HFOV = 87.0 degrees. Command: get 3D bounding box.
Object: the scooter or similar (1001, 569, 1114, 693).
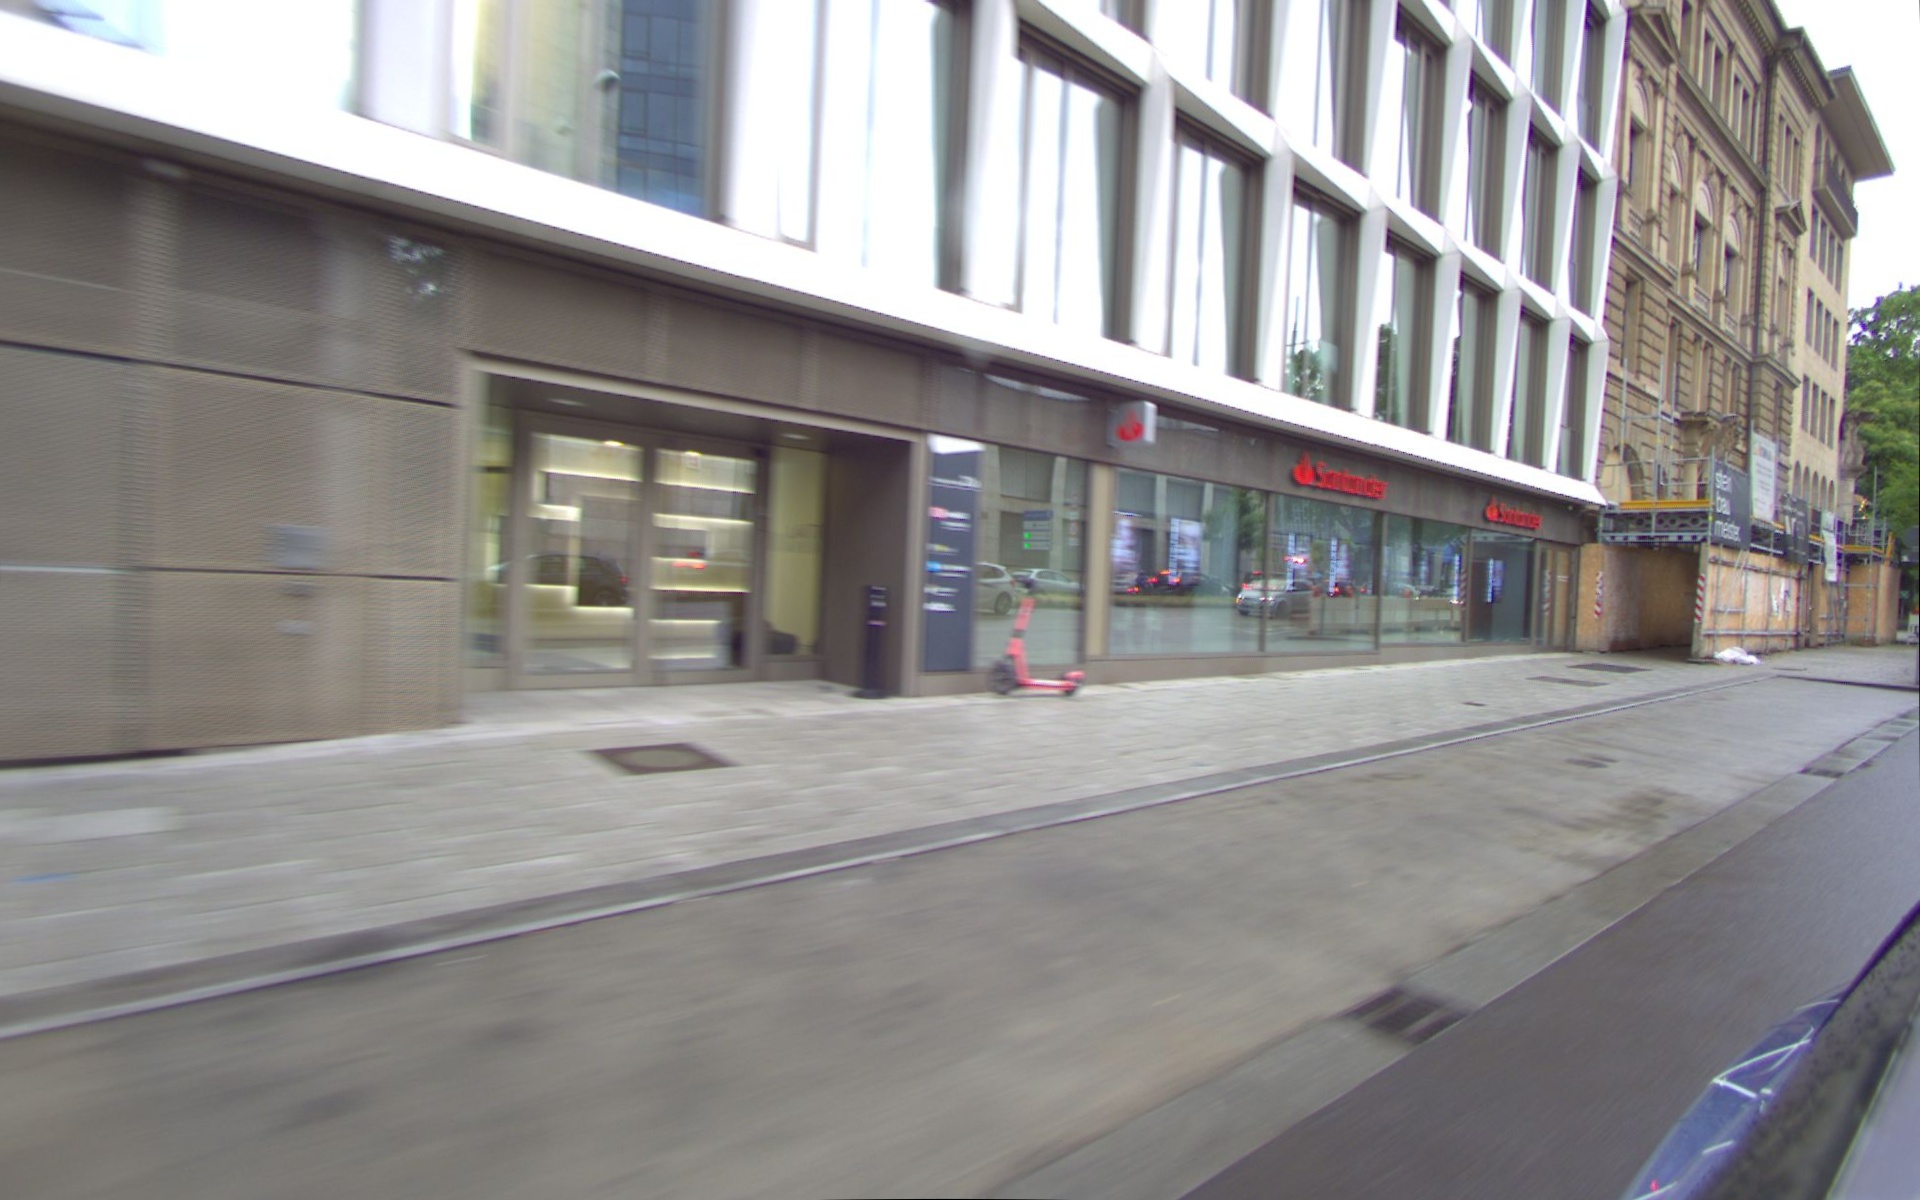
[{"bbox_3d":[1.044,0.314,10.740,1.166,1.251,0.413,1,1,-32],"label":"scooter or similar"}]
